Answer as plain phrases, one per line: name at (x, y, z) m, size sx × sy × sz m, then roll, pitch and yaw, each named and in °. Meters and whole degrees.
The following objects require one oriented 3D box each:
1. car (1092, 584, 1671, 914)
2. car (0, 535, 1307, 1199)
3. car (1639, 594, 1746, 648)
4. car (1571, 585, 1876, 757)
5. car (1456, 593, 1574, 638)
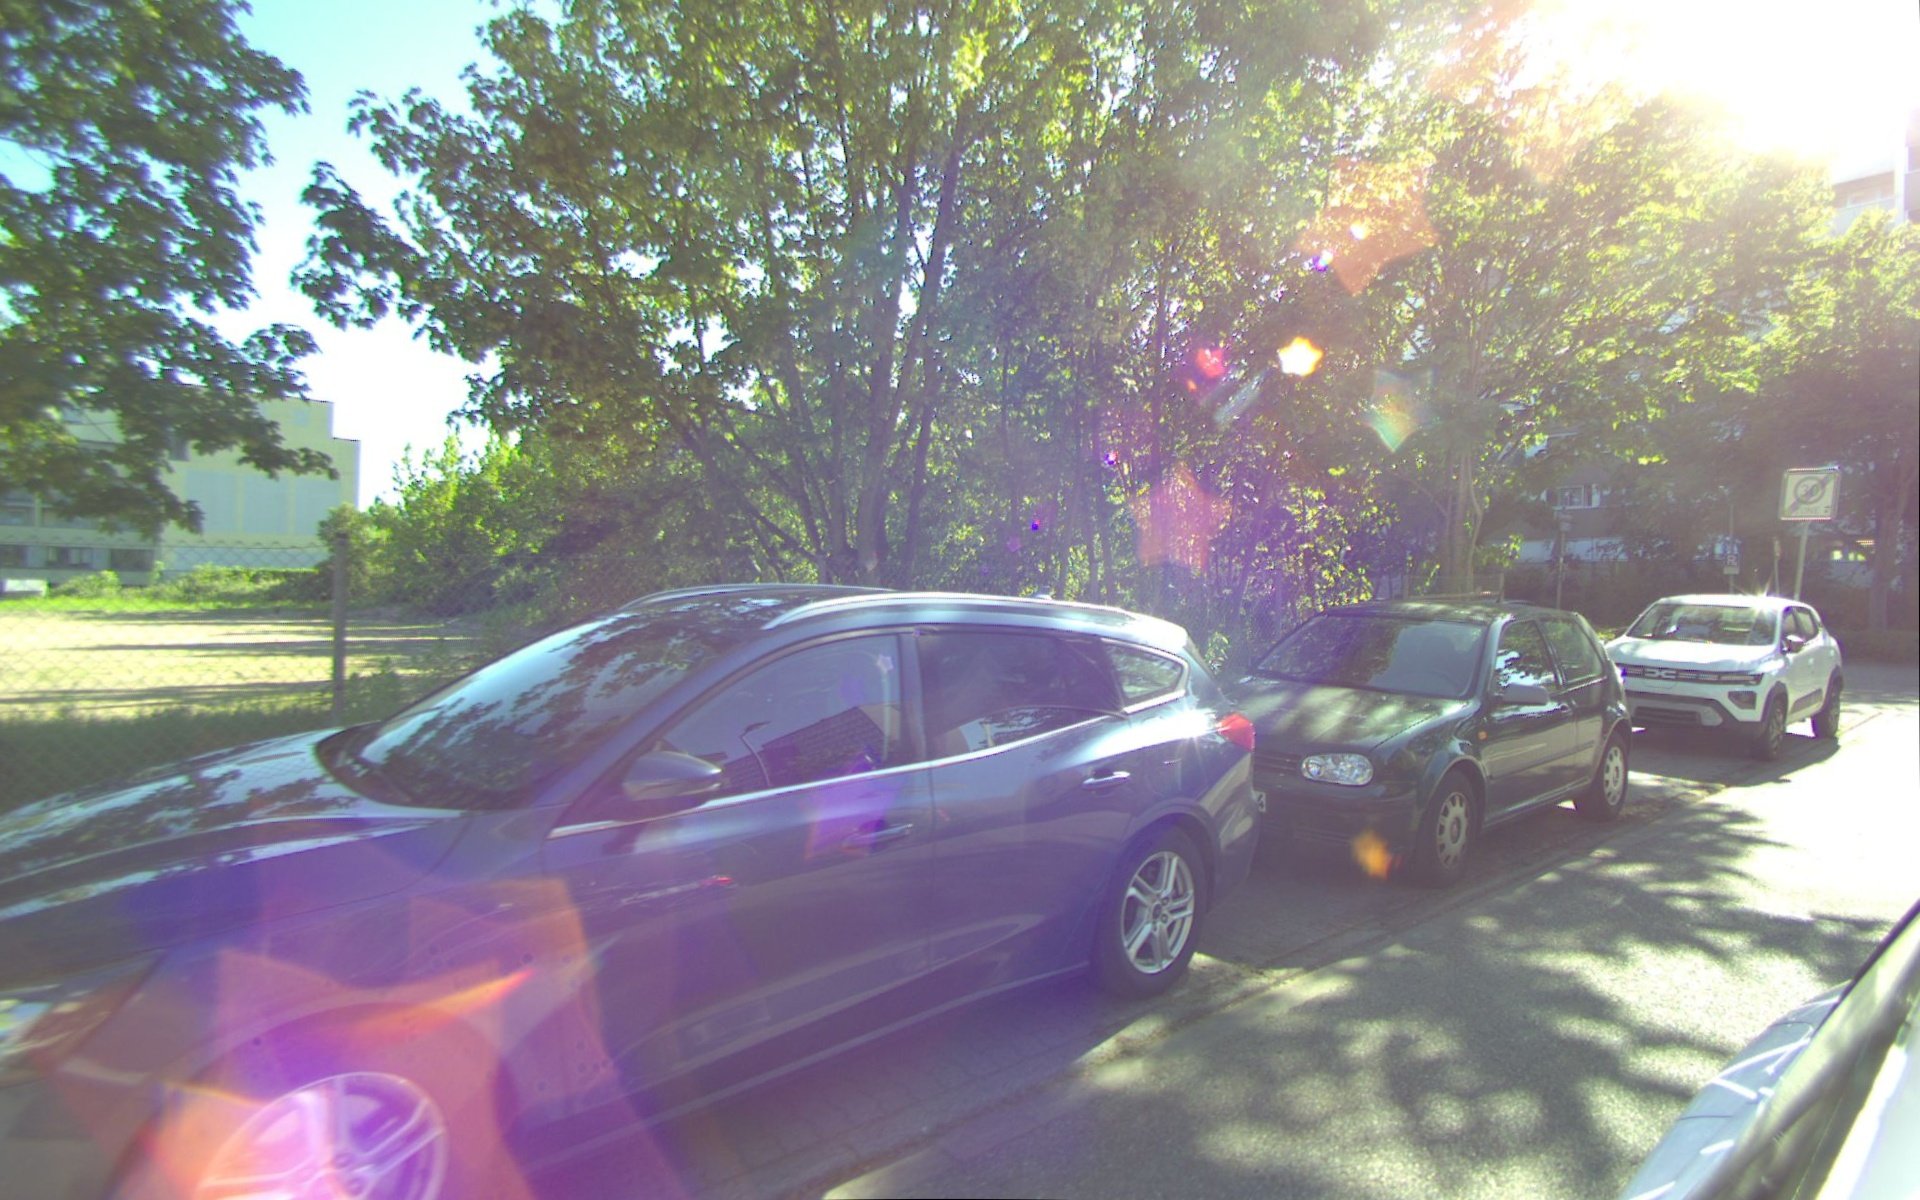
car at (2.891, 0.657, 6.558) m, size 3.996 × 1.490 × 1.828 m, roll 0°, pitch 0°, yaw -39°
car at (-0.743, 0.639, 3.418) m, size 4.361 × 1.456 × 1.679 m, roll 1°, pitch 0°, yaw -41°
car at (22.241, 0.594, 30.686) m, size 3.929 × 1.469 × 1.715 m, roll -1°, pitch 1°, yaw -39°
car at (8.196, 0.601, 10.741) m, size 4.016 × 1.469 × 1.623 m, roll -1°, pitch 1°, yaw -38°
car at (18.722, 0.522, 34.072) m, size 4.206 × 1.446 × 1.827 m, roll 1°, pitch -1°, yaw -35°
